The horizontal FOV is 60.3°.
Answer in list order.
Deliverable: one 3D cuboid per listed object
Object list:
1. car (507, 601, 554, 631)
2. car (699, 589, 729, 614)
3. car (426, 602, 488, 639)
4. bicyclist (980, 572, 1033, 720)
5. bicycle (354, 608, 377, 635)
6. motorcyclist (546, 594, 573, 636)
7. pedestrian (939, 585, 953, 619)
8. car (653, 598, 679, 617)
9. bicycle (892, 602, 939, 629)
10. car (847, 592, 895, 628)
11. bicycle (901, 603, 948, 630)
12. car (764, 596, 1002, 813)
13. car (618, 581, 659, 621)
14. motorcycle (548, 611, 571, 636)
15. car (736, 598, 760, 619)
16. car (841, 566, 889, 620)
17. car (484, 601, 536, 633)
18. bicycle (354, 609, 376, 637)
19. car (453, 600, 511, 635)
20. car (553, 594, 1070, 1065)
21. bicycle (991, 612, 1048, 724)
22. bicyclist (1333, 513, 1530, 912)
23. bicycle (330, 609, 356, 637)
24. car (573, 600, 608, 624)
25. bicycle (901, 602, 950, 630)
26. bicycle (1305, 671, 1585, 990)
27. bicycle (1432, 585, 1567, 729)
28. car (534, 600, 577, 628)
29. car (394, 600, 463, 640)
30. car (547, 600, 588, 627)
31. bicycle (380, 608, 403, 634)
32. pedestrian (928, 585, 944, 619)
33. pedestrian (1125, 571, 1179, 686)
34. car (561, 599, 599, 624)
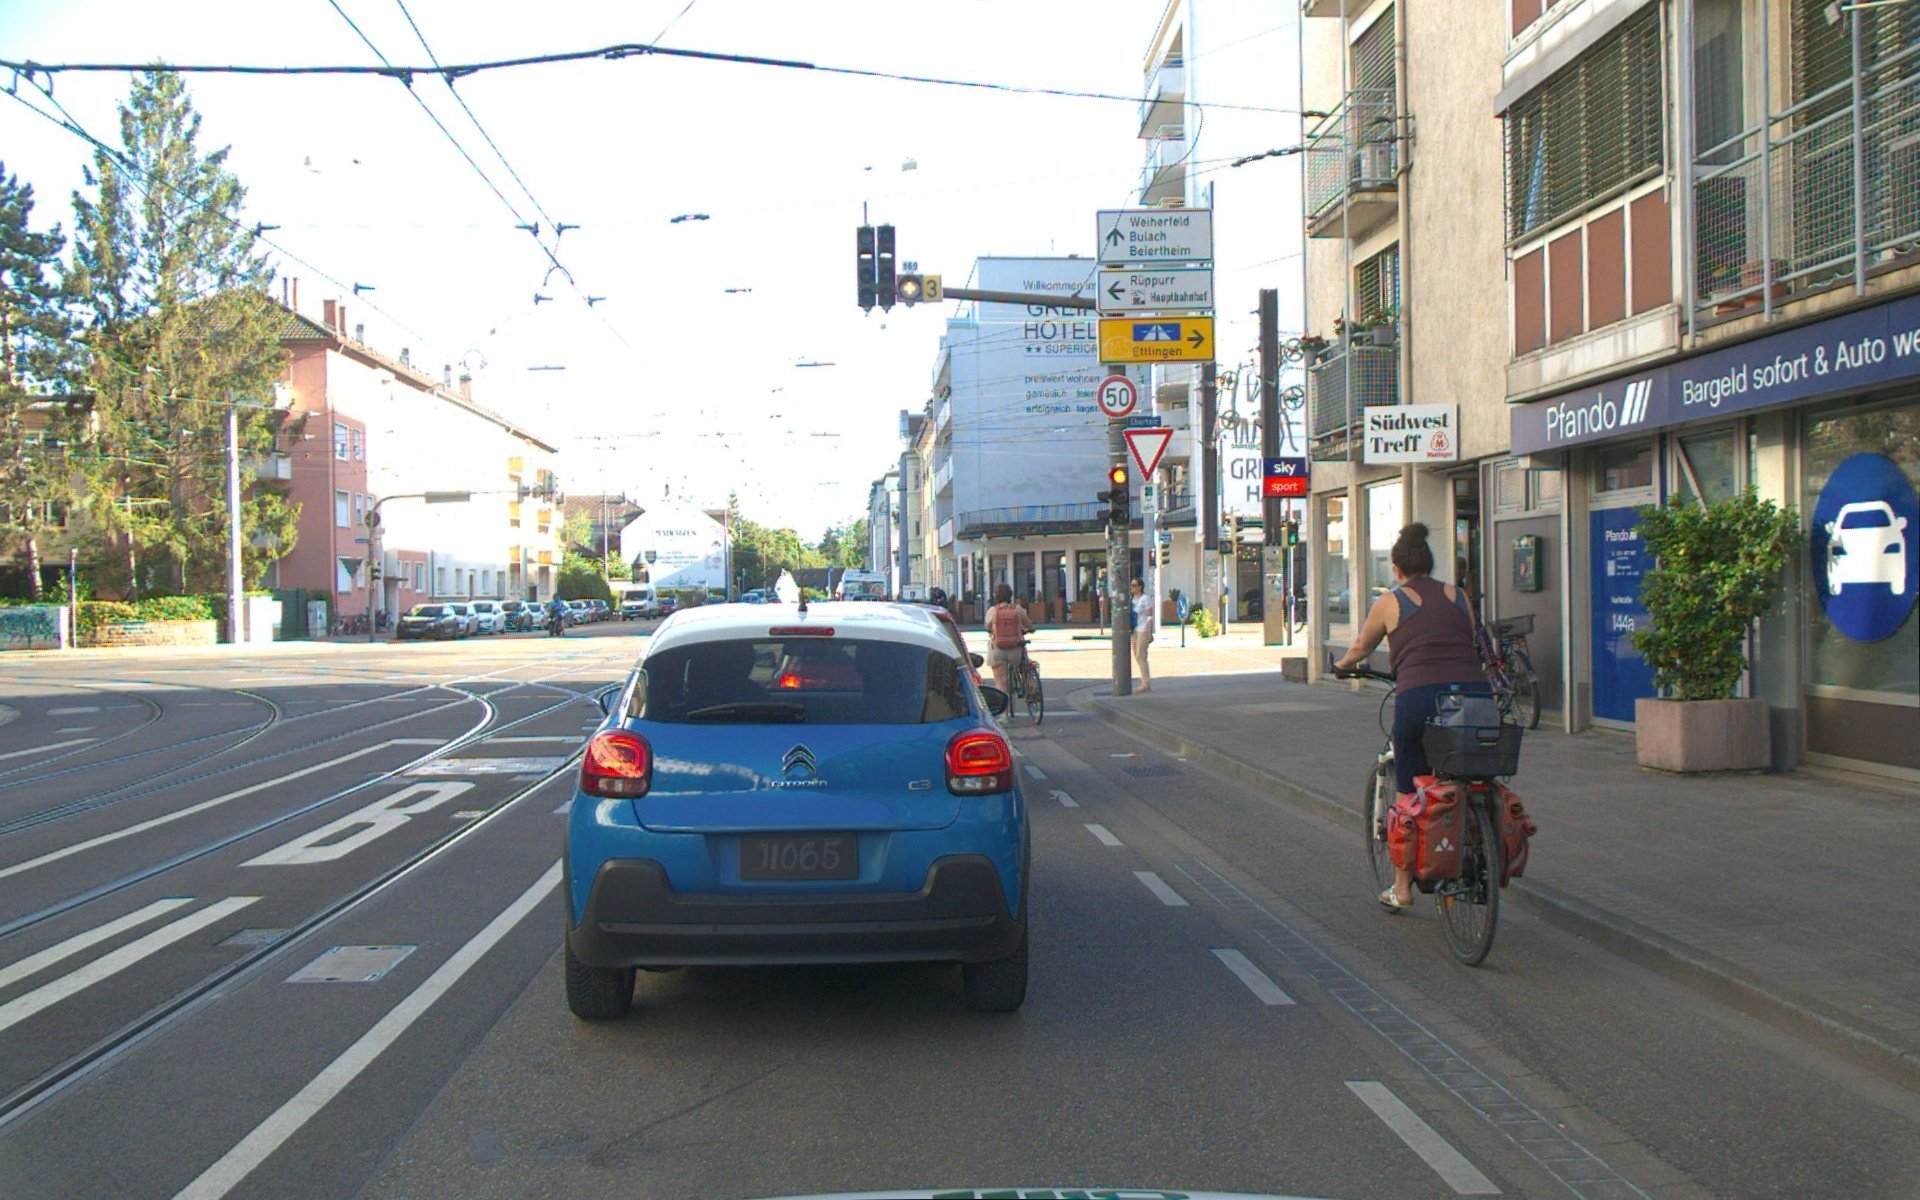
[{"bbox_3d":[-23.759,0.862,91.550,1.913,1.545,3.995,-1,0,-6],"label":"car"},{"bbox_3d":[-17.270,0.088,116.317,1.967,1.656,5.045,-1,0,-7],"label":"car"},{"bbox_3d":[-22.550,0.882,74.238,1.913,1.545,4.040,-1,0,-6],"label":"car"},{"bbox_3d":[0.570,0.552,20.578,0.588,1.776,1.084,-1,0,-1],"label":"bicyclist"},{"bbox_3d":[-25.870,0.934,71.969,0.527,1.101,1.908,-1,0,-7],"label":"bicycle"},{"bbox_3d":[-16.201,0.611,66.935,0.973,1.659,0.737,-1,0,-10],"label":"motorcyclist"},{"bbox_3d":[-0.581,0.086,69.975,0.459,1.445,0.525,-1,0,-13],"label":"pedestrian"},{"bbox_3d":[-25.569,0.652,144.148,1.913,1.545,3.995,-1,0,-6],"label":"car"},{"bbox_3d":[-1.857,0.644,68.253,1.868,1.083,0.641,-1,0,-8],"label":"bicycle"},{"bbox_3d":[-3.672,0.386,67.722,1.752,1.383,3.909,-1,0,-6],"label":"car"},{"bbox_3d":[-1.442,0.667,67.066,1.868,1.083,0.641,-1,0,-8],"label":"bicycle"},{"bbox_3d":[-0.677,0.727,13.541,1.647,1.488,3.997,1,0,-4],"label":"car"},{"bbox_3d":[-23.219,0.075,119.560,2.446,2.759,5.828,-1,0,-7],"label":"car"},{"bbox_3d":[-16.222,0.944,67.003,0.738,0.993,2.092,-1,0,-9],"label":"motorcycle"},{"bbox_3d":[-21.805,0.817,170.475,2.293,2.074,5.044,-1,0,-6],"label":"car"},{"bbox_3d":[-4.227,-0.315,73.160,2.039,2.309,5.646,0,0,-4],"label":"car"},{"bbox_3d":[-23.229,0.846,85.501,1.913,1.545,3.995,-1,0,-6],"label":"car"},{"bbox_3d":[-24.226,0.942,67.398,0.527,1.101,1.905,-1,0,-11],"label":"bicycle"},{"bbox_3d":[-22.752,0.826,78.844,1.913,1.545,3.995,-1,0,-6],"label":"car"},{"bbox_3d":[-0.610,0.731,7.332,1.647,1.488,3.997,1,0,-4],"label":"car"},{"bbox_3d":[0.724,0.815,20.618,0.601,1.286,1.910,-1,0,-1],"label":"bicycle"},{"bbox_3d":[2.063,0.469,7.310,0.604,1.658,0.759,-1,0,-2],"label":"bicyclist"},{"bbox_3d":[-24.978,0.925,66.974,0.628,1.101,1.905,-1,0,-11],"label":"bicycle"},{"bbox_3d":[-25.561,0.796,114.576,1.913,1.545,3.995,-1,0,-6],"label":"car"},{"bbox_3d":[-1.390,0.642,65.761,1.868,1.083,0.641,-1,0,-8],"label":"bicycle"},{"bbox_3d":[2.069,0.927,7.326,0.604,1.123,1.885,-1,0,-2],"label":"bicycle"},{"bbox_3d":[5.115,0.505,15.801,0.627,1.286,1.910,-1,0,-1],"label":"bicycle"},{"bbox_3d":[-23.930,0.830,97.975,1.913,1.545,3.995,-1,0,-6],"label":"car"},{"bbox_3d":[-22.011,0.796,68.633,1.913,1.545,3.995,-1,0,-6],"label":"car"},{"bbox_3d":[-24.404,0.815,102.972,1.913,1.545,3.995,-1,0,-6],"label":"car"},{"bbox_3d":[-25.668,0.947,74.675,0.597,1.101,1.908,-1,0,-7],"label":"bicycle"},{"bbox_3d":[-1.007,0.091,70.220,0.514,1.445,0.547,-1,0,19],"label":"pedestrian"},{"bbox_3d":[2.828,0.413,24.390,0.735,1.663,0.740,-1,0,5],"label":"pedestrian"},{"bbox_3d":[-24.845,0.757,108.245,1.913,1.545,3.995,-1,0,-6],"label":"car"}]
